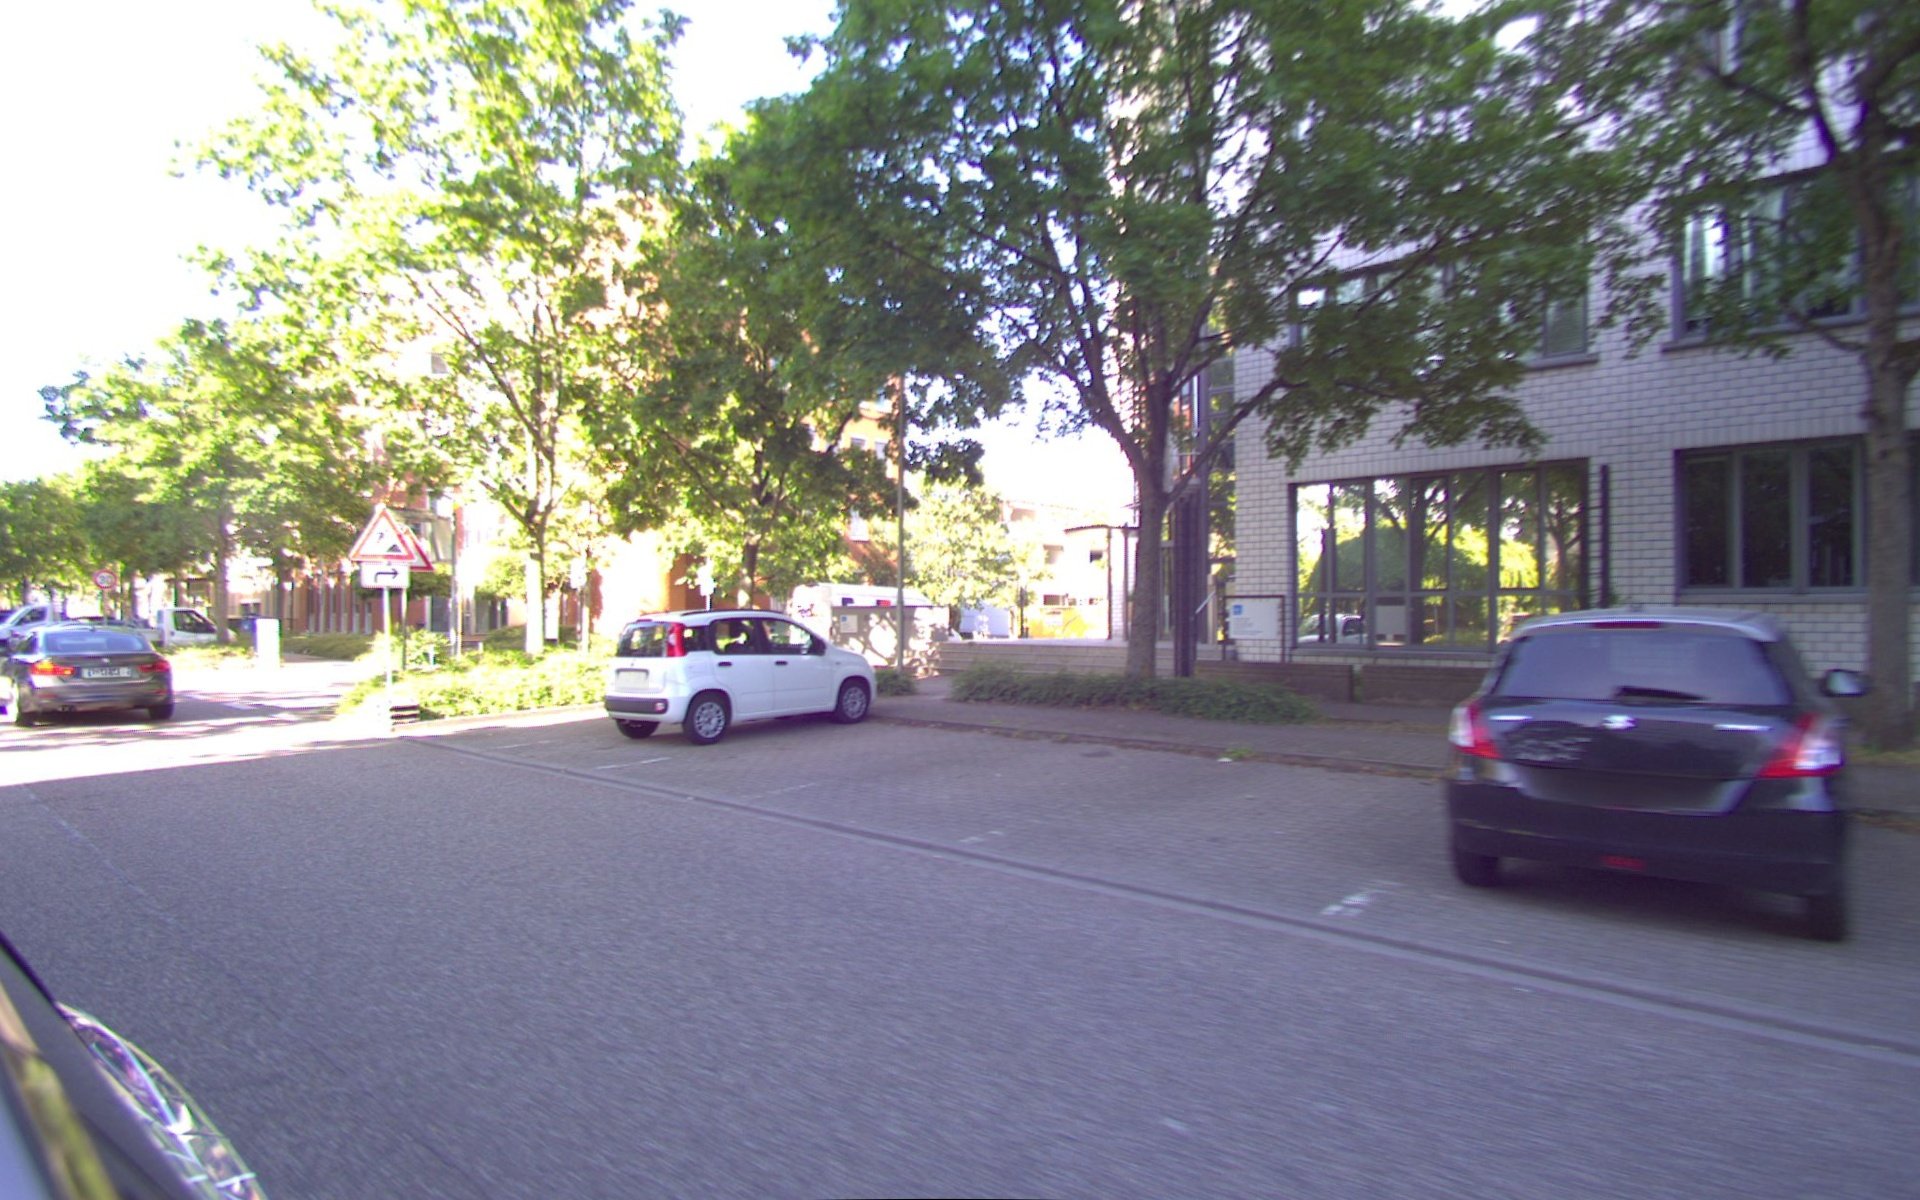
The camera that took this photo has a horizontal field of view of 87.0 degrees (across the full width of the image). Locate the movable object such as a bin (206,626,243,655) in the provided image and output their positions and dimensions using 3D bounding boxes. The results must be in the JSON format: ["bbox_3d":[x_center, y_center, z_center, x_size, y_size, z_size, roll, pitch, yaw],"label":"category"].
[{"bbox_3d":[-45.505,2.489,62.604,1.664,1.810,1.581,-2,-2,44],"label":"movable object such as a bin"}]

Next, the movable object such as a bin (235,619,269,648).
[{"bbox_3d":[-41.554,1.961,59.425,1.436,1.632,1.137,-1,-2,29],"label":"movable object such as a bin"}]

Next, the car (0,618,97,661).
[{"bbox_3d":[-47.309,2.001,51.858,1.998,2.067,4.437,-1,0,39],"label":"car"}]

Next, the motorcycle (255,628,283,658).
[{"bbox_3d":[-37.788,2.338,55.307,2.108,1.603,0.707,-1,-2,40],"label":"motorcycle"}]

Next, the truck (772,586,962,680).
[{"bbox_3d":[-2.845,1.040,32.554,2.576,2.725,6.042,-1,-2,40],"label":"truck"}]

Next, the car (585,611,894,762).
[{"bbox_3d":[-2.647,0.949,12.747,1.636,1.561,3.545,2,1,39],"label":"car"}]

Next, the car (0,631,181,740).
[{"bbox_3d":[-13.409,1.192,15.356,4.106,1.426,1.794,-2,-3,42],"label":"car"}]

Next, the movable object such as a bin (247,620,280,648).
[{"bbox_3d":[-40.426,1.956,58.757,1.239,1.575,1.137,-1,-2,29],"label":"movable object such as a bin"}]

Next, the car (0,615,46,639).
[{"bbox_3d":[-63.904,1.839,67.861,1.754,1.463,3.715,-2,0,41],"label":"car"}]

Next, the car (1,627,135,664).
[{"bbox_3d":[-40.829,2.052,46.398,1.998,1.498,4.382,-1,-1,40],"label":"car"}]

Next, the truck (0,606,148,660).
[{"bbox_3d":[-43.017,1.594,48.467,2.187,2.440,6.165,-2,-3,42],"label":"truck"}]

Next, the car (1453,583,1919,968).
[{"bbox_3d":[4.266,0.714,5.845,1.675,1.475,3.694,-1,-2,40],"label":"car"}]

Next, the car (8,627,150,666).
[{"bbox_3d":[-38.691,2.016,44.521,1.888,1.453,4.495,-2,-1,40],"label":"car"}]

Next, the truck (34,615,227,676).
[{"bbox_3d":[-28.783,1.555,35.252,2.138,1.974,4.930,-2,-3,43],"label":"truck"}]
